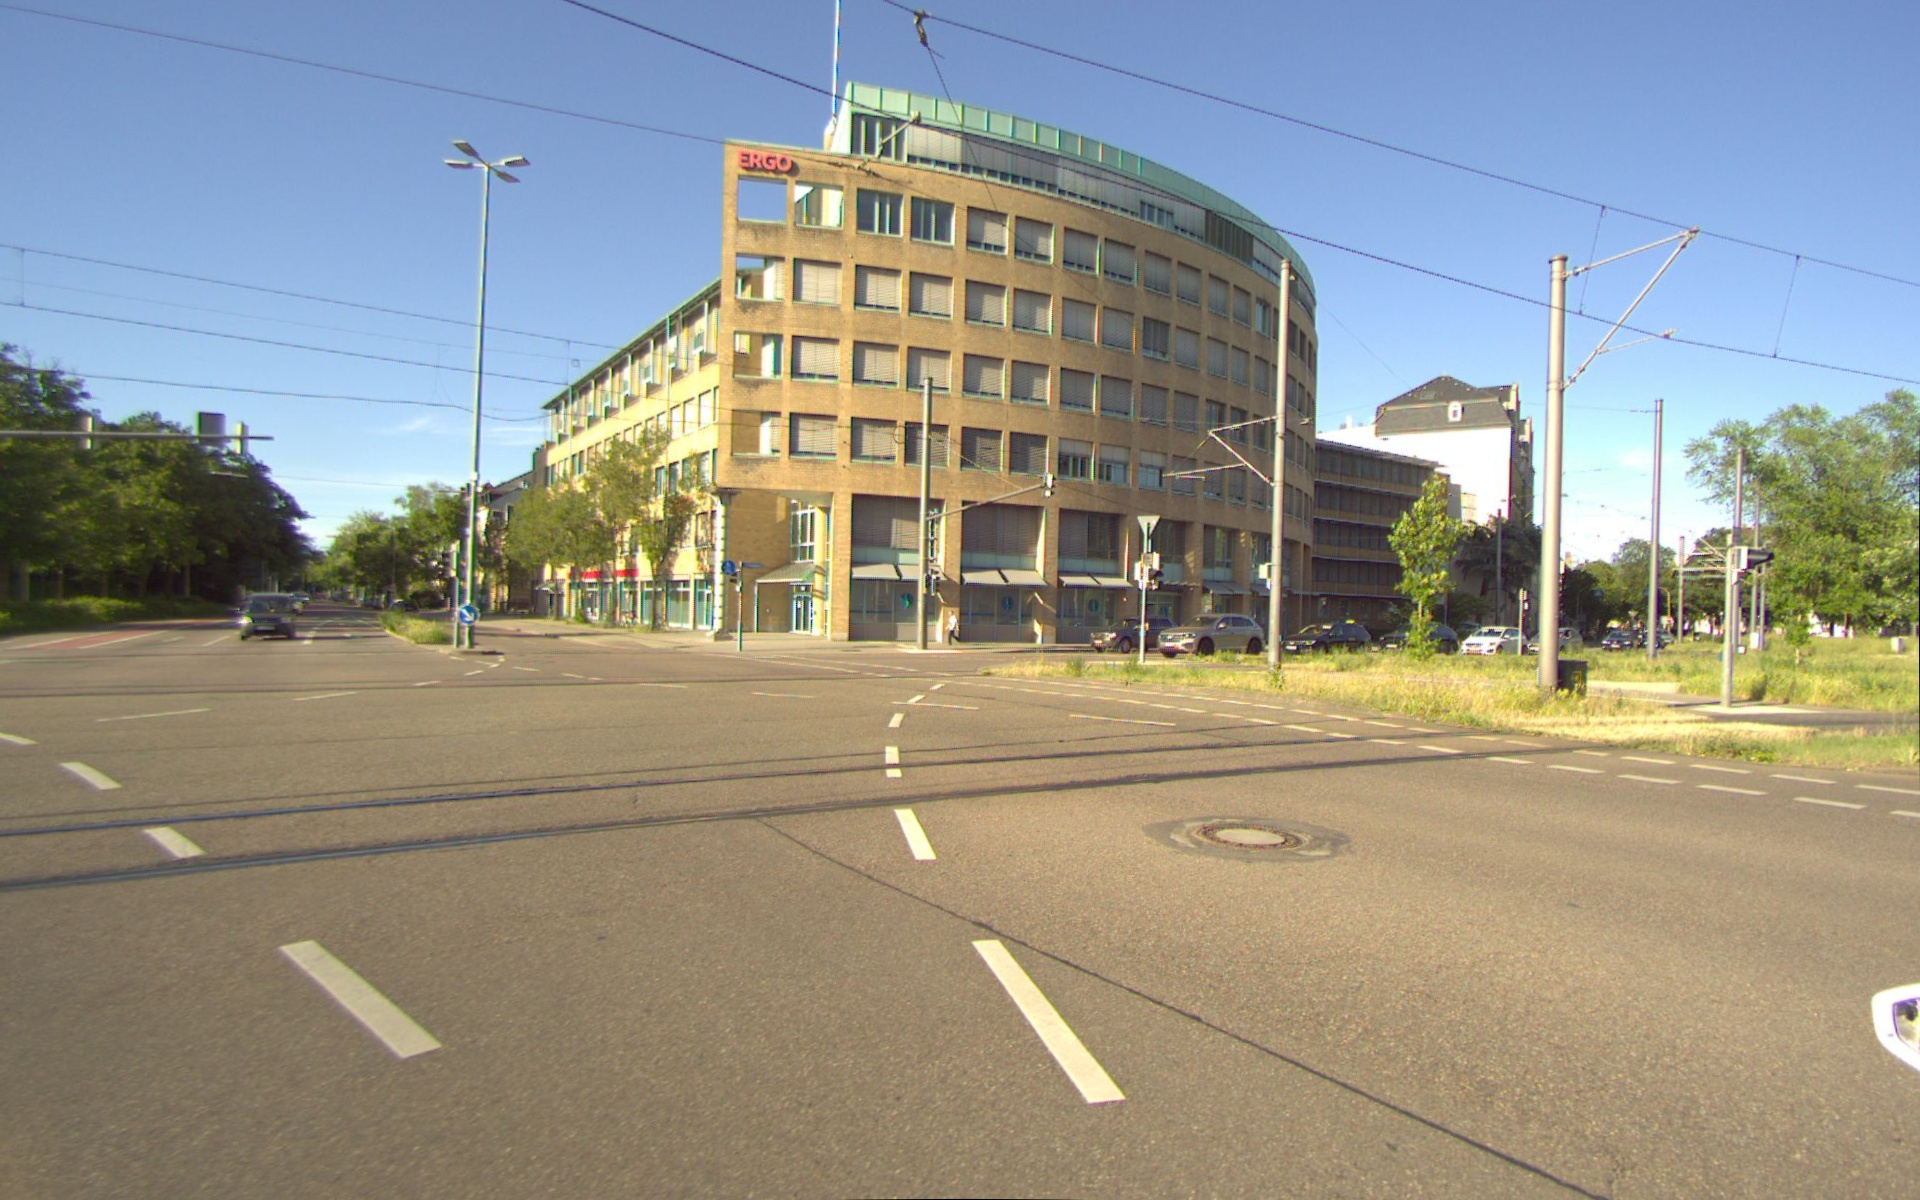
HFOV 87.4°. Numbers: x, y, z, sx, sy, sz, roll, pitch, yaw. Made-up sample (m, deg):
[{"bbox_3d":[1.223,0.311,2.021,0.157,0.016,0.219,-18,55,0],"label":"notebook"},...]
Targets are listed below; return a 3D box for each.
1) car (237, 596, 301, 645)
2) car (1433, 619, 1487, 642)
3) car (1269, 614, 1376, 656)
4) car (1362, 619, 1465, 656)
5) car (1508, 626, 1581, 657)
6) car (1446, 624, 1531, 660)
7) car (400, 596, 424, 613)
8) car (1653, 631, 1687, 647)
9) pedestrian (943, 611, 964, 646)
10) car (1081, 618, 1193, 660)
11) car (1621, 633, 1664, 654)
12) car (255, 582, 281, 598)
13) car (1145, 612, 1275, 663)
[{"bbox_3d":[-26.552,0.774,38.712,1.818,1.595,3.907,3,1,-32],"label":"car"},{"bbox_3d":[41.806,2.571,84.082,3.925,1.602,1.998,4,1,26],"label":"car"},{"bbox_3d":[15.295,1.490,42.306,4.618,1.537,1.979,3,1,-36],"label":"car"},{"bbox_3d":[21.325,1.768,47.144,4.965,1.467,1.982,3,1,-33],"label":"car"},{"bbox_3d":[31.881,2.270,54.718,4.473,1.446,1.977,3,1,-40],"label":"car"},{"bbox_3d":[26.990,2.131,51.227,4.613,1.617,1.979,3,1,-37],"label":"car"},{"bbox_3d":[-58.979,0.458,108.045,1.819,1.595,3.905,3,1,-34],"label":"car"},{"bbox_3d":[71.485,3.900,101.114,4.736,1.372,1.973,1,2,-45],"label":"car"},{"bbox_3d":[-0.296,1.334,46.769,0.703,1.552,0.595,3,1,-26],"label":"pedestrian"},{"bbox_3d":[8.299,1.846,46.982,5.160,1.690,2.103,3,1,-35],"label":"car"},{"bbox_3d":[60.253,3.840,88.703,4.249,1.532,1.977,6,-2,-40],"label":"car"},{"bbox_3d":[-74.311,-1.090,107.912,1.815,1.595,3.915,3,1,-27],"label":"car"},{"bbox_3d":[9.577,1.405,38.268,5.038,1.757,2.084,2,0,-37],"label":"car"}]
